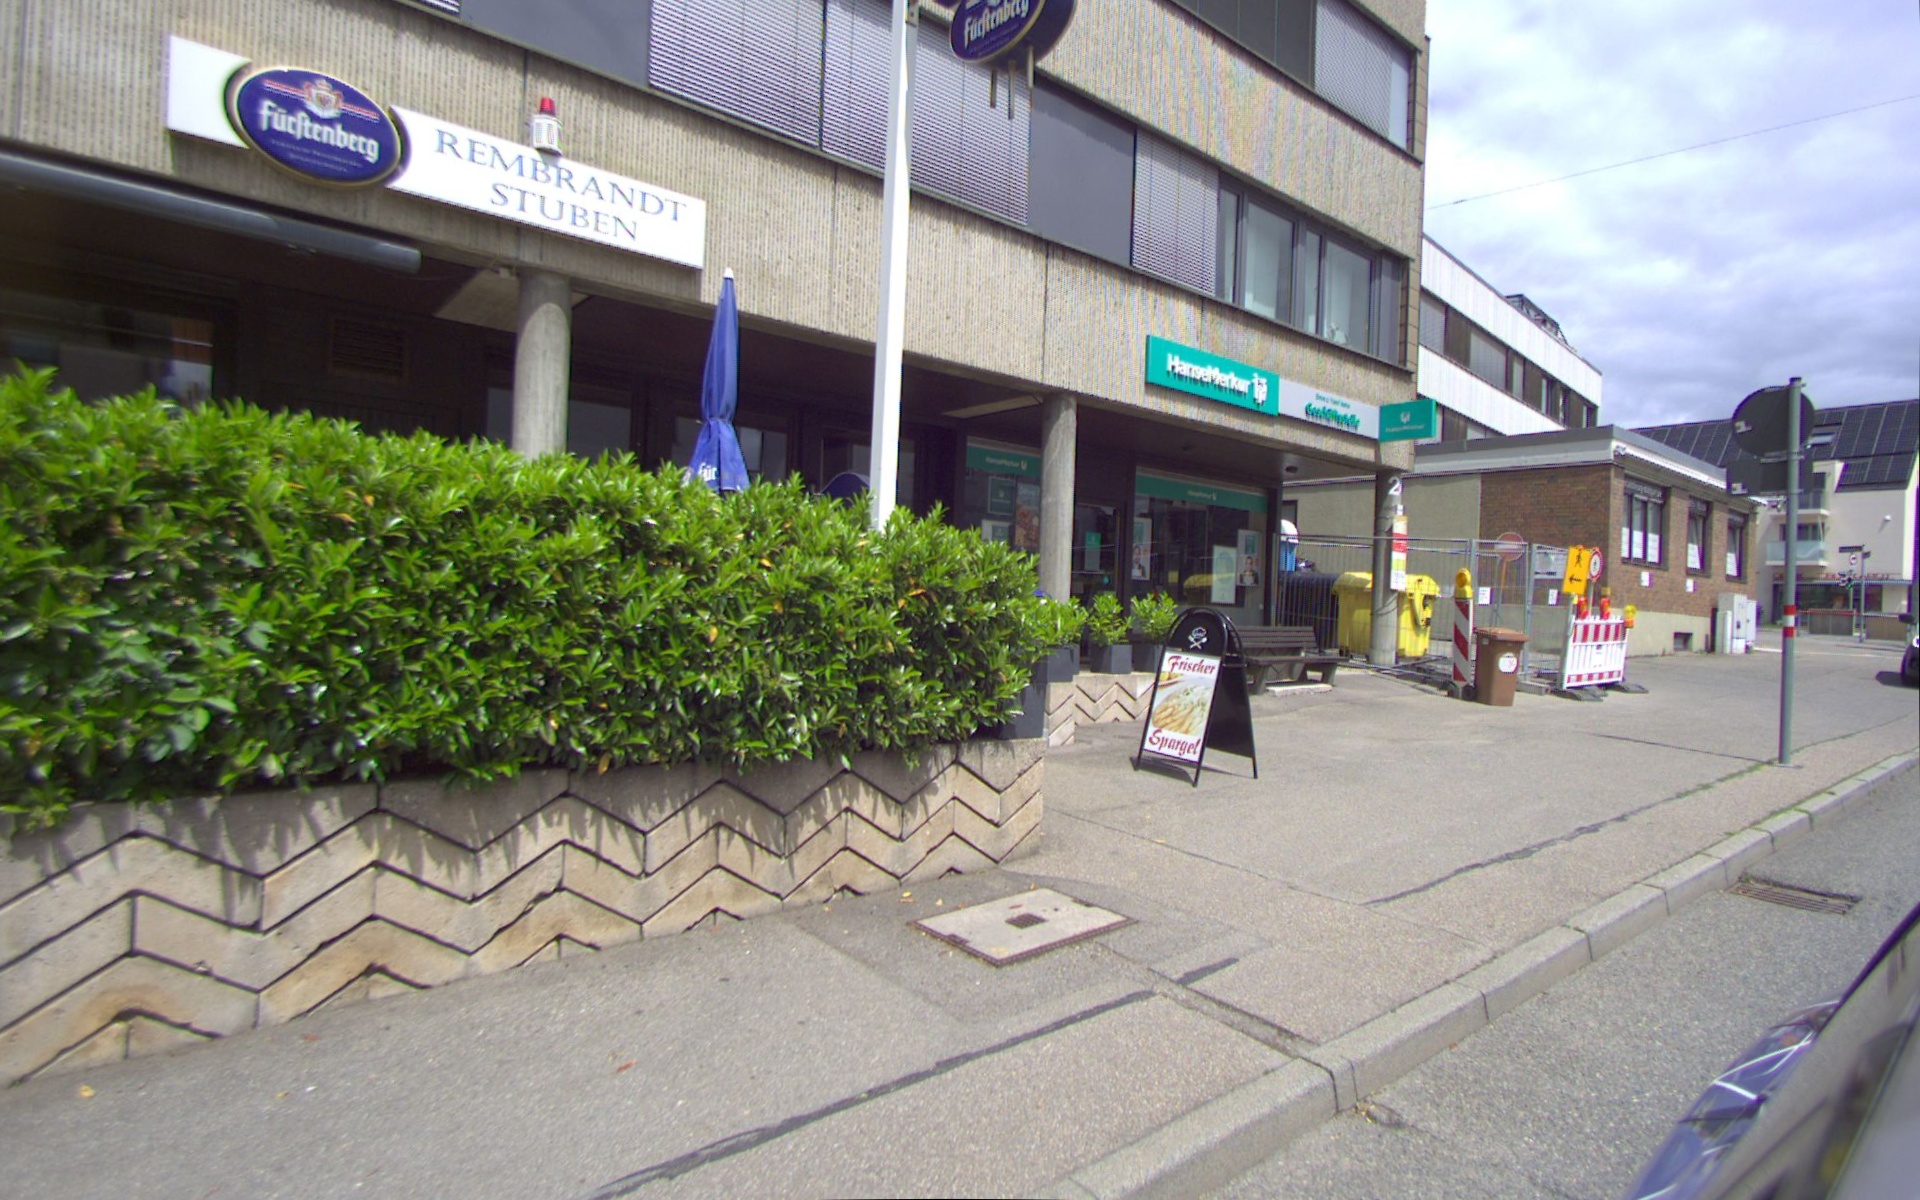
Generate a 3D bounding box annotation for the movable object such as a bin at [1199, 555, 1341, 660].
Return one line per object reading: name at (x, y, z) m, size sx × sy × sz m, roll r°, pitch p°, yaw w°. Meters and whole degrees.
movable object such as a bin at (5.346, 0.112, 17.520) m, size 1.356 × 1.705 × 1.930 m, roll 0°, pitch 0°, yaw -38°

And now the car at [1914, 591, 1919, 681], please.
car at (17.890, 0.496, 17.499) m, size 1.890 × 1.749 × 4.224 m, roll 4°, pitch 3°, yaw 44°

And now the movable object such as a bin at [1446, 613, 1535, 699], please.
movable object such as a bin at (6.532, 0.673, 12.479) m, size 0.462 × 0.925 × 0.789 m, roll 0°, pitch 6°, yaw -40°

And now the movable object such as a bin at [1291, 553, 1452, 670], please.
movable object such as a bin at (6.429, 0.161, 15.867) m, size 1.356 × 1.705 × 1.930 m, roll 0°, pitch 0°, yaw -38°
